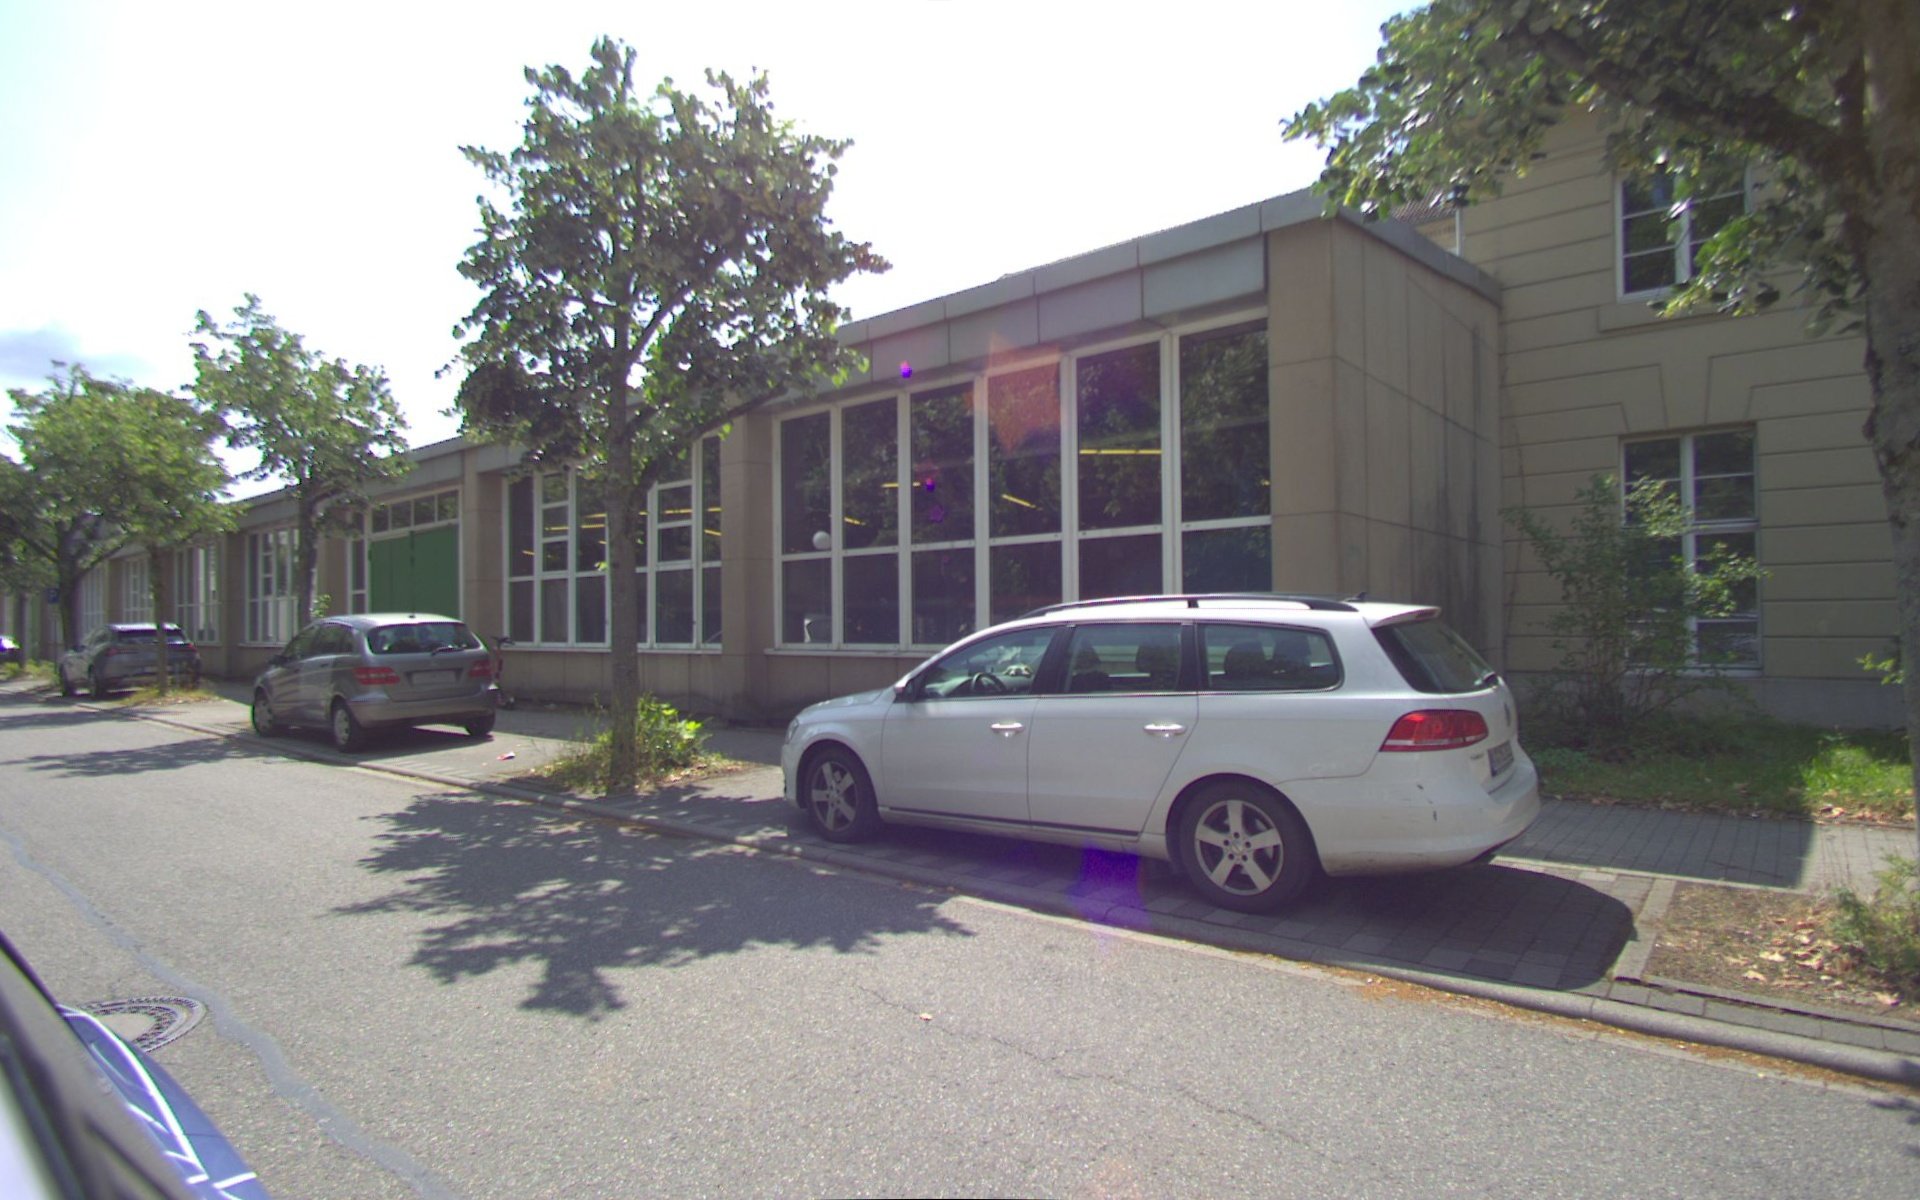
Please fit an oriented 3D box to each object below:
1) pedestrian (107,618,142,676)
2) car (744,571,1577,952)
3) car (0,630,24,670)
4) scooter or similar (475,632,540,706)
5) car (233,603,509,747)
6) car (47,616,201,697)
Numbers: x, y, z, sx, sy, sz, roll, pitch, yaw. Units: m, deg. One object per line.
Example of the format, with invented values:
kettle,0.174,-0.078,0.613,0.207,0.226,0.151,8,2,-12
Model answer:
pedestrian,-27.035,1.520,32.744,0.670,1.800,0.779,-3,-1,43
car,0.882,0.660,6.023,4.577,1.467,1.709,-2,0,39
car,-37.443,1.973,38.784,4.285,1.446,1.708,-3,-1,40
scooter or similar,-7.651,1.145,17.090,1.214,1.178,0.500,-2,0,41
car,-7.836,0.895,13.327,4.108,1.568,1.740,-2,0,39
car,-19.500,1.261,23.545,4.510,1.644,1.805,-2,0,38
